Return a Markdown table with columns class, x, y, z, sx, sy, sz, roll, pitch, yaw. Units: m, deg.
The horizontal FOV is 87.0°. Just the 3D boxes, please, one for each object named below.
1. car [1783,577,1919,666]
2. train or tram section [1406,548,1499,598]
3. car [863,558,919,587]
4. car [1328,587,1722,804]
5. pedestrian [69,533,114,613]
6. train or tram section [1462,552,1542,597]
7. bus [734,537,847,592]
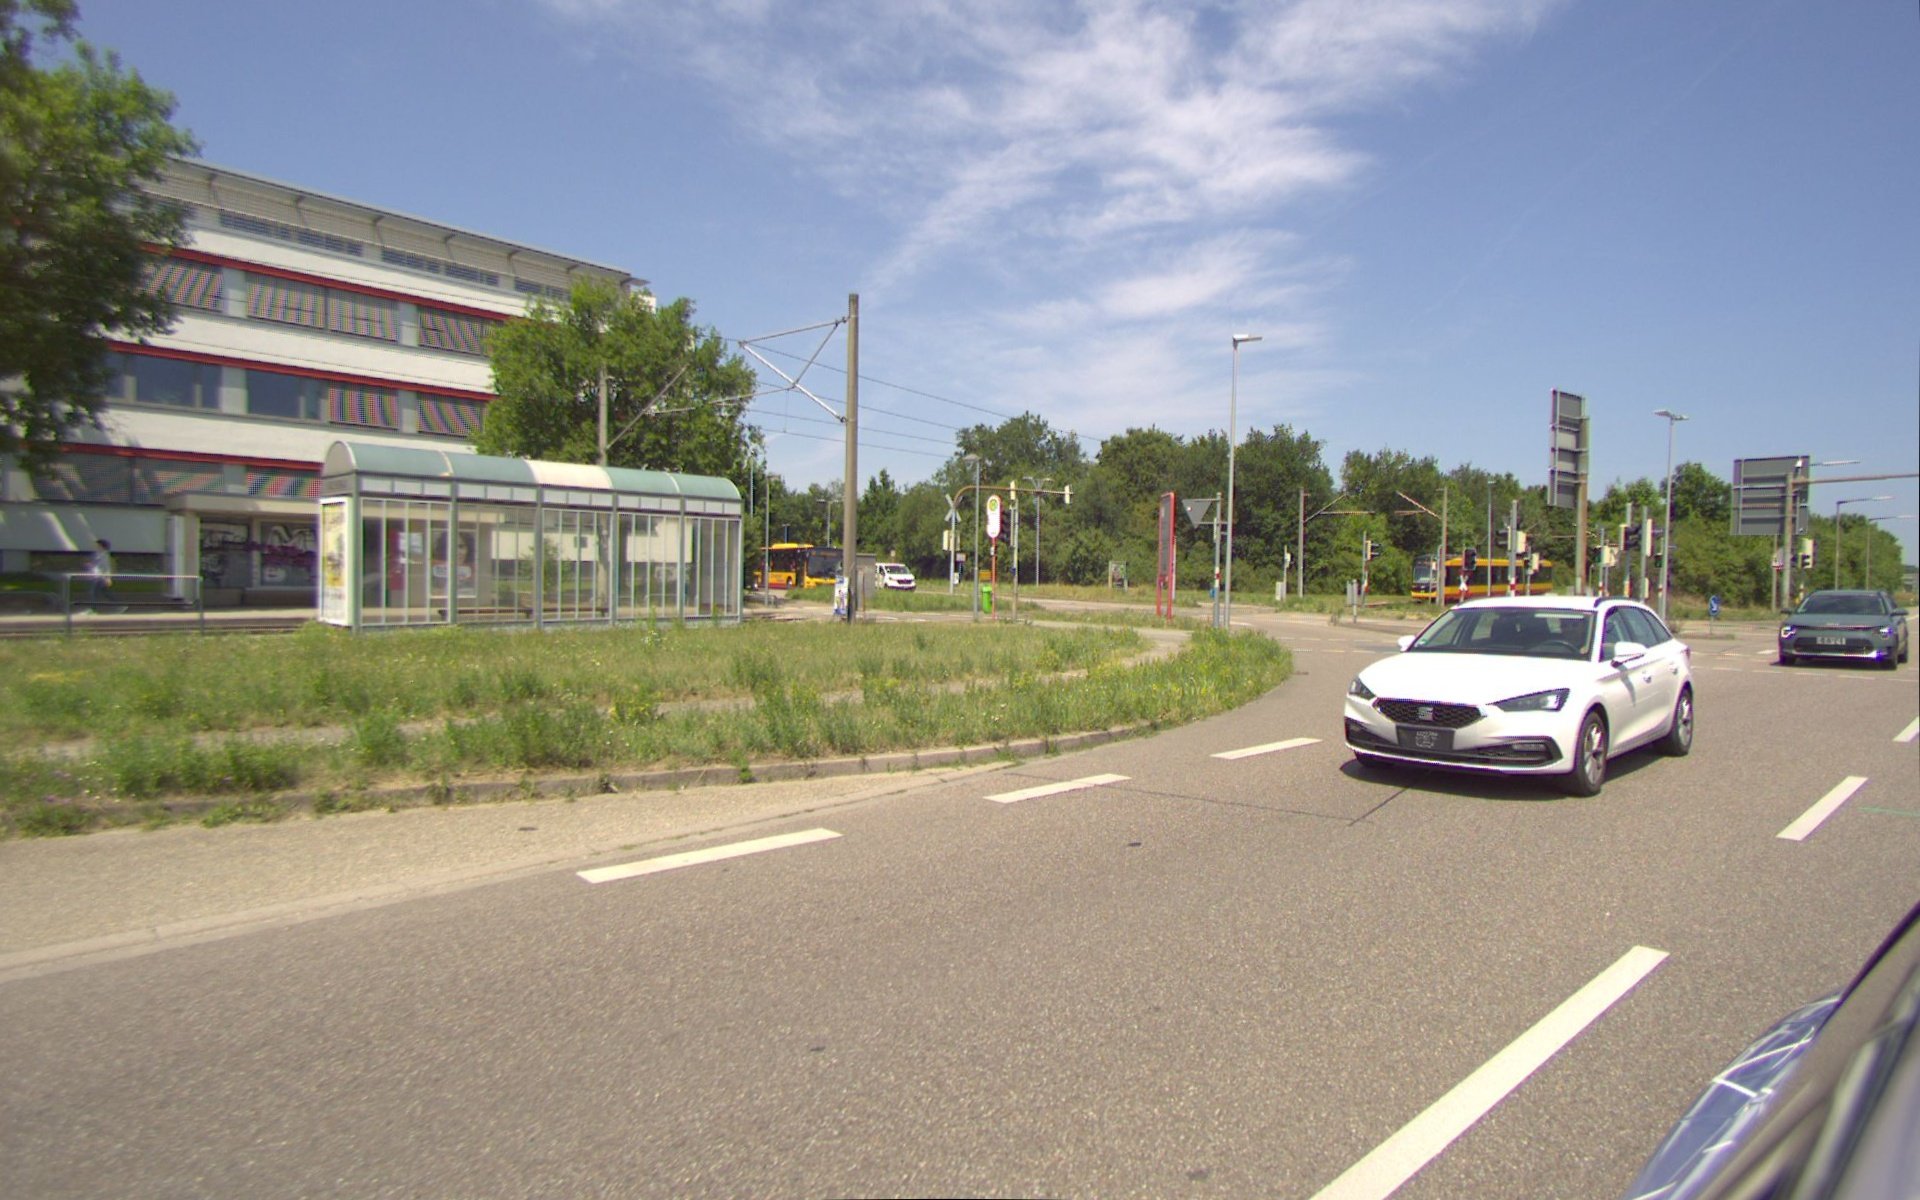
| class | x | y | z | sx | sy | sz | roll | pitch | yaw |
| --- | --- | --- | --- | --- | --- | --- | --- | --- | --- |
| car | 18.391 | 0.373 | 20.702 | 3.930 | 1.616 | 1.722 | 0 | 2 | -41 |
| train or tram section | 38.334 | -2.054 | 78.421 | 2.815 | 3.626 | 12.303 | 2 | 2 | 44 |
| car | -4.509 | -1.749 | 65.377 | 1.790 | 1.750 | 5.081 | -1 | 1 | -26 |
| car | 5.065 | 0.604 | 8.781 | 4.375 | 1.407 | 1.685 | -1 | 2 | -42 |
| pedestrian | -18.036 | -0.561 | 21.030 | 0.678 | 1.628 | 0.553 | -1 | 1 | -40 |
| train or tram section | 46.874 | -2.149 | 87.301 | 2.815 | 3.626 | 12.303 | 2 | 2 | 44 |
| bus | -10.975 | -2.189 | 64.091 | 2.783 | 3.158 | 12.090 | -1 | 2 | -31 |
